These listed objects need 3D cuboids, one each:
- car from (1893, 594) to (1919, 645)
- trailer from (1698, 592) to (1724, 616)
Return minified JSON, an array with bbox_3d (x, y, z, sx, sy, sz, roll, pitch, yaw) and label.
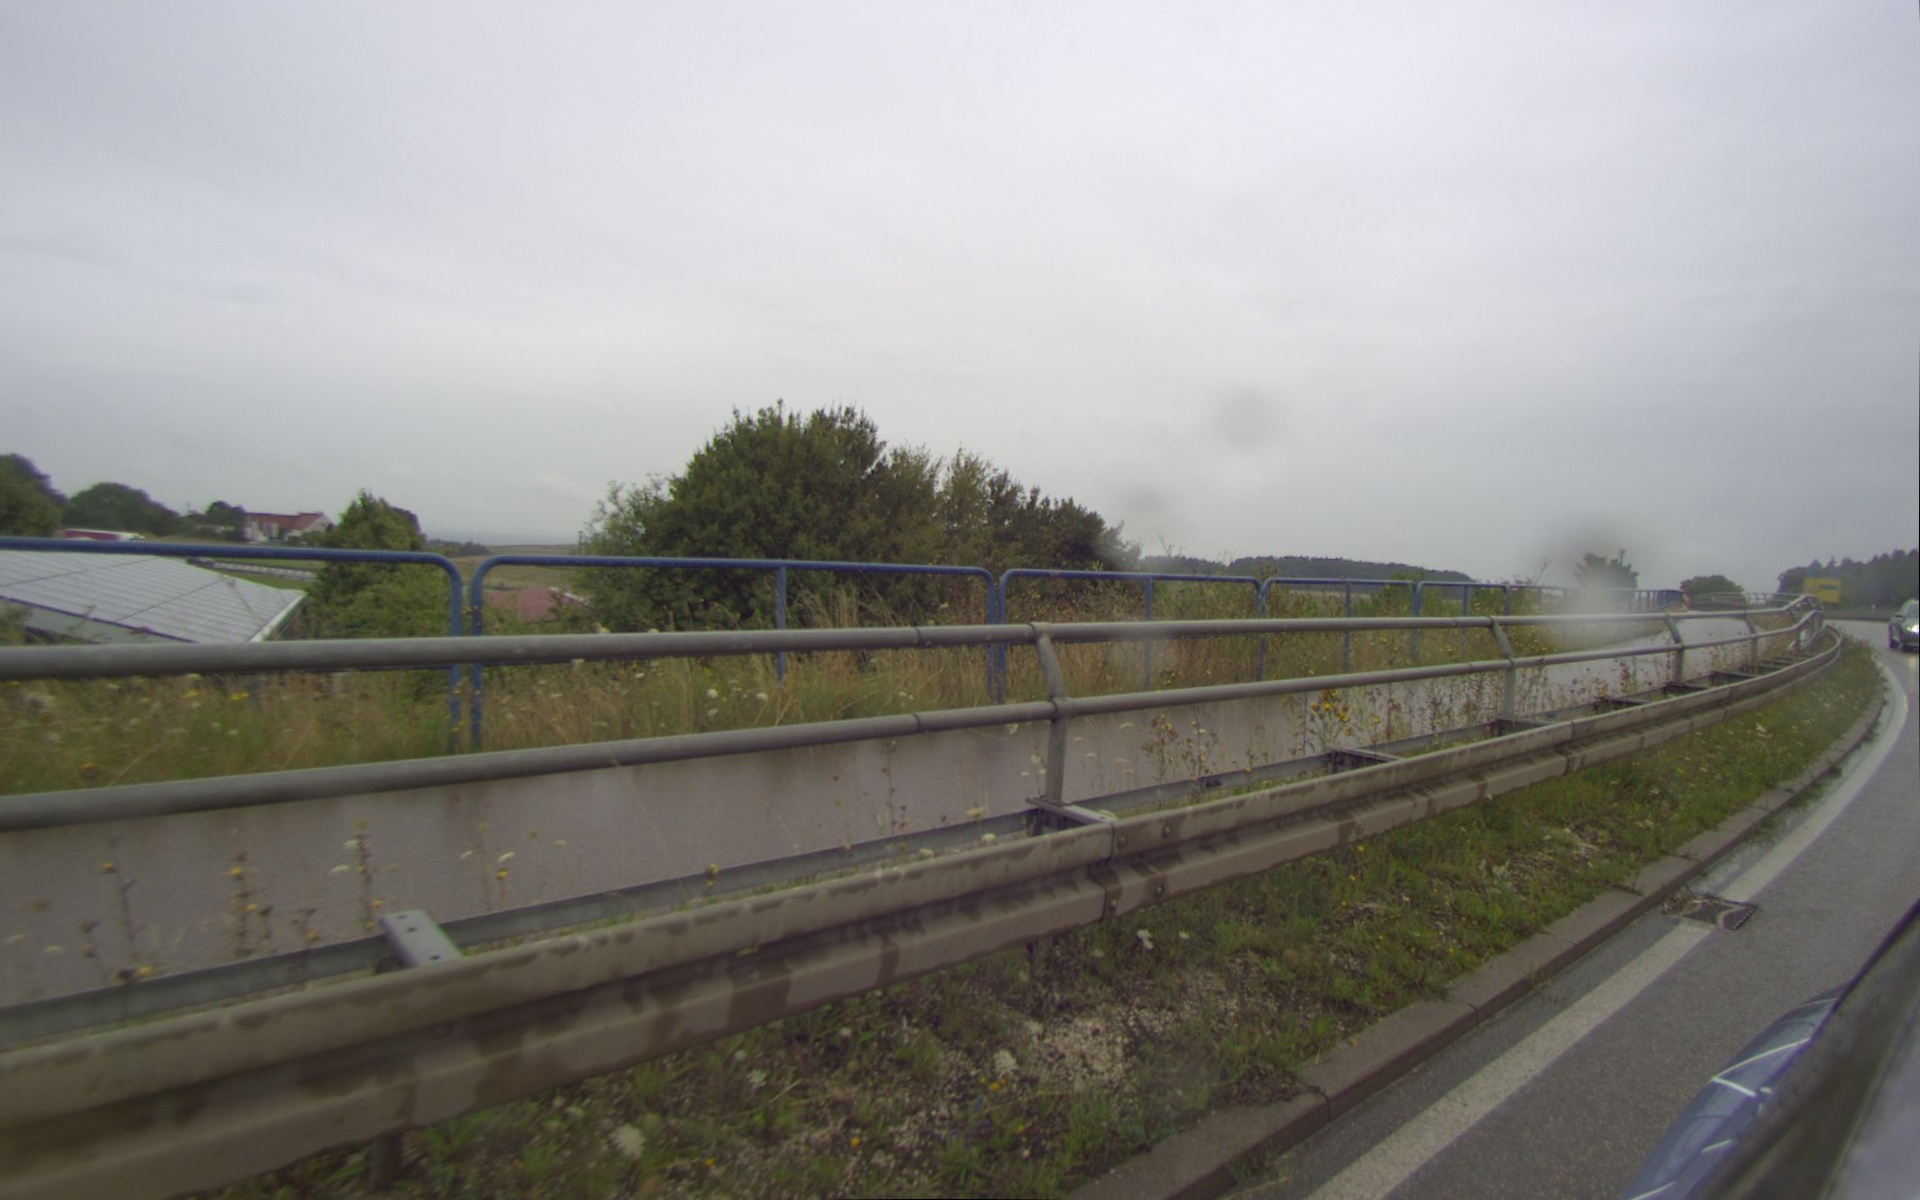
[{"bbox_3d":[28.160,0.548,28.747,1.808,1.408,4.019,1,1,34],"label":"car"},{"bbox_3d":[135.748,0.747,183.036,2.808,4.019,13.570,4,2,33],"label":"trailer"}]
